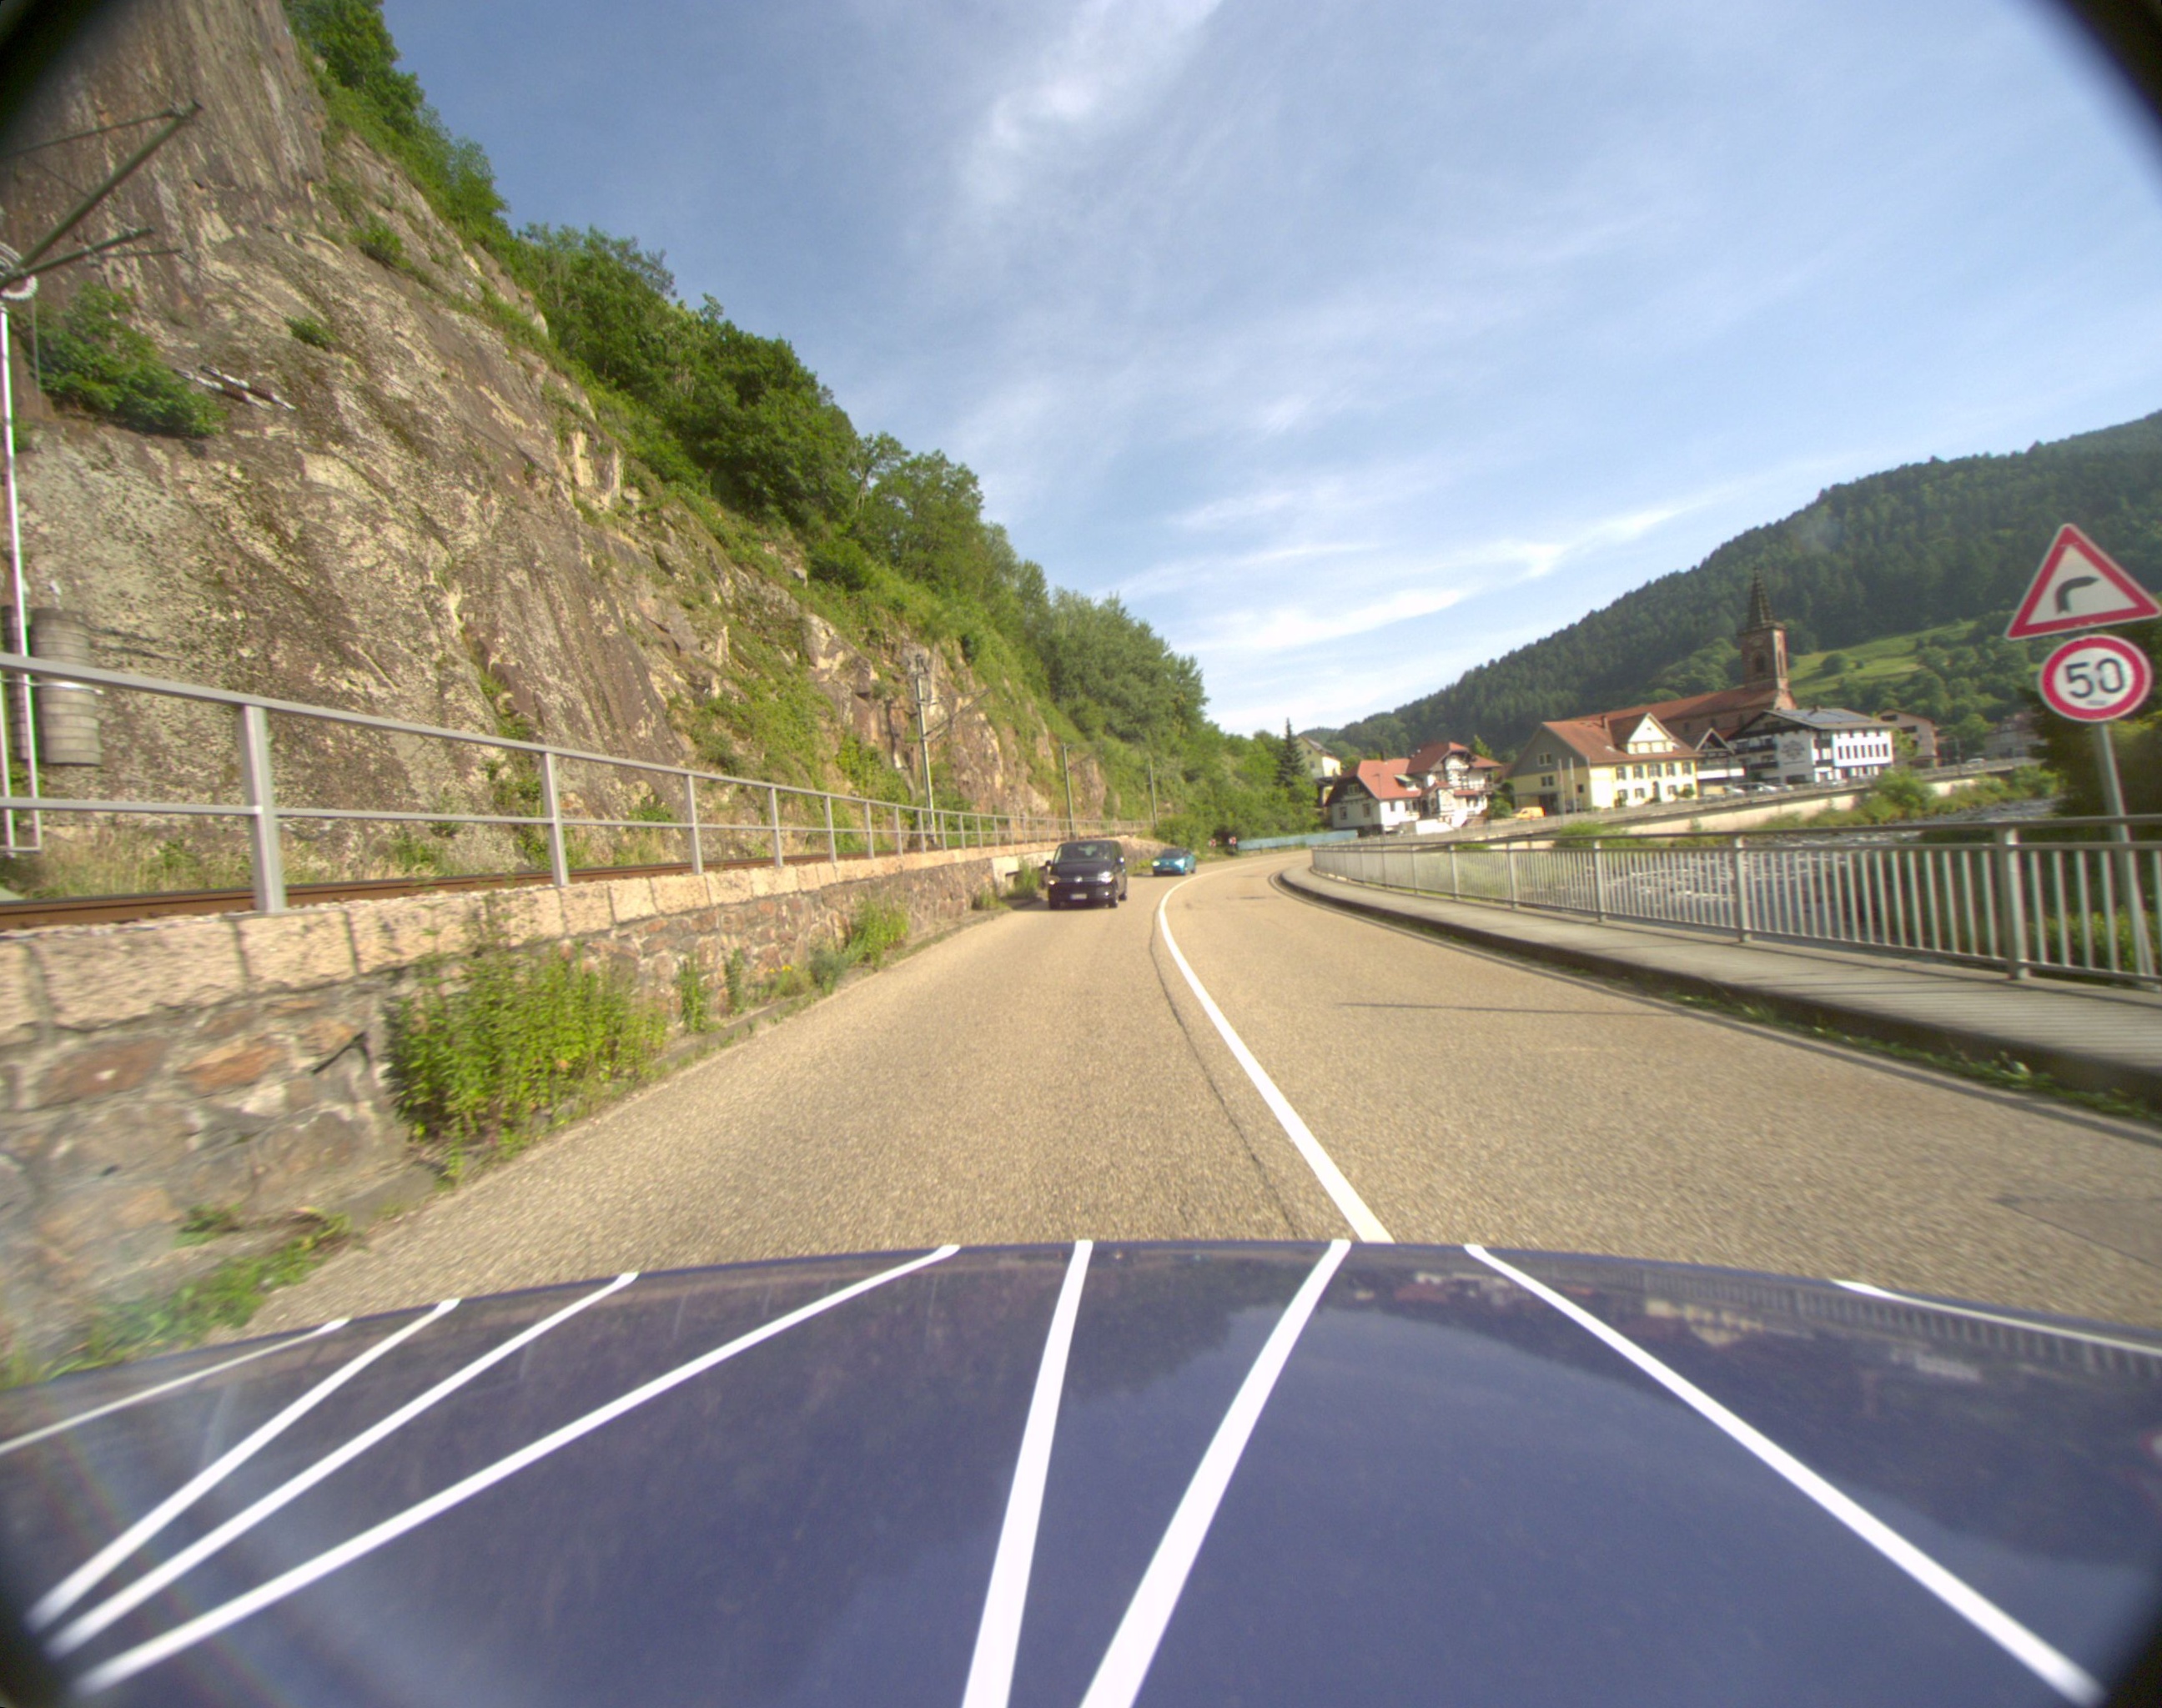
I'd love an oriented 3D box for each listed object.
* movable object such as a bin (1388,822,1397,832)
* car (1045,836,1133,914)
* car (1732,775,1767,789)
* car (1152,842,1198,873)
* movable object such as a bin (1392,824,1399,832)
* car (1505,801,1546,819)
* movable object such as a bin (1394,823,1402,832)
[{"bbox_3d":[36.398,-3.139,88.736,0.753,1.056,0.478,-6,1,-26],"label":"movable object such as a bin"},{"bbox_3d":[0.372,0.529,22.675,1.886,1.952,4.868,-4,0,8],"label":"car"},{"bbox_3d":[99.774,-10.703,113.425,1.372,1.883,3.751,-6,5,-19],"label":"car"},{"bbox_3d":[5.336,0.175,42.804,1.680,1.513,3.870,-4,1,20],"label":"car"},{"bbox_3d":[36.549,-3.065,88.304,0.548,0.895,0.368,-6,1,-32],"label":"movable object such as a bin"},{"bbox_3d":[57.350,-5.681,97.965,4.838,1.986,1.911,-5,1,-21],"label":"car"},{"bbox_3d":[36.586,-3.090,87.776,0.653,0.931,0.472,-6,1,-26],"label":"movable object such as a bin"}]
